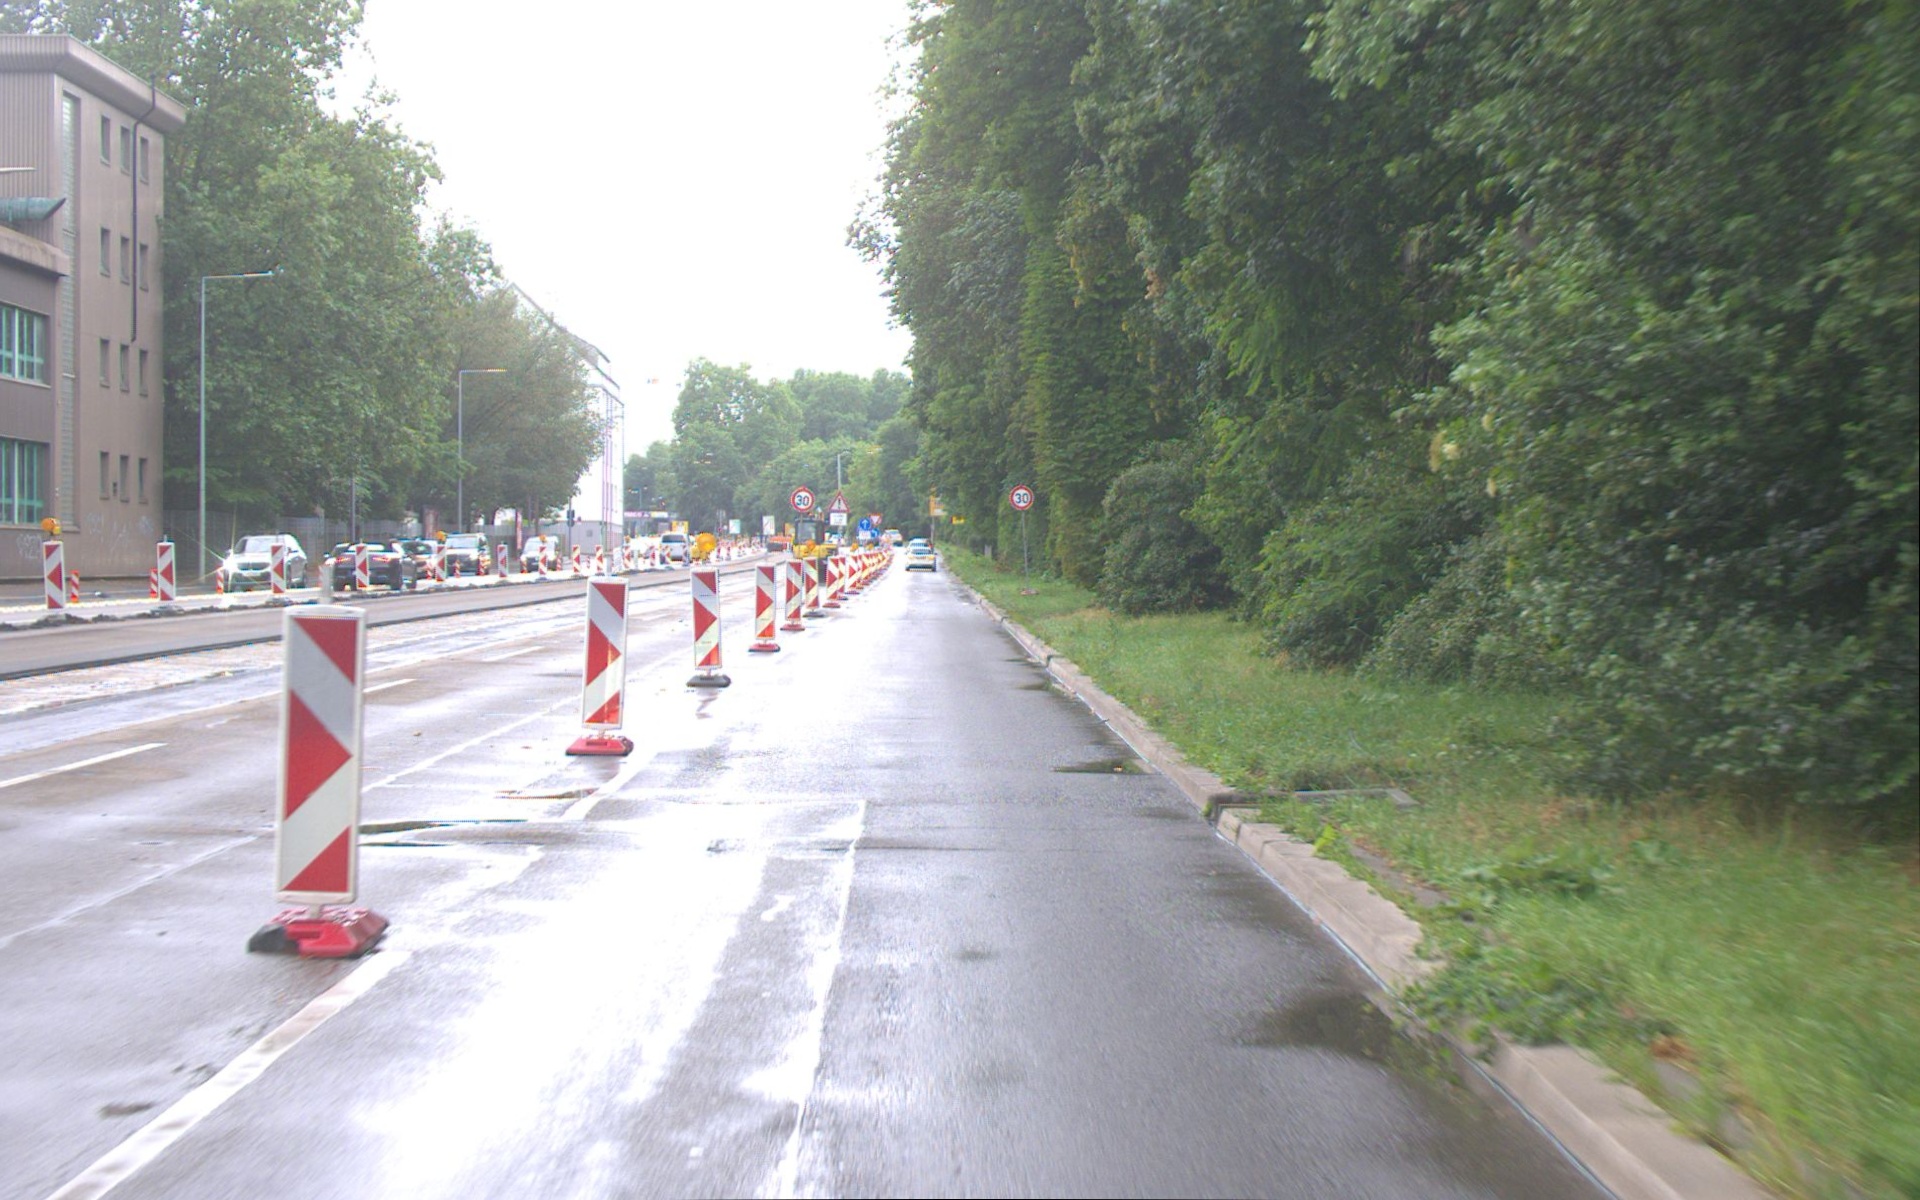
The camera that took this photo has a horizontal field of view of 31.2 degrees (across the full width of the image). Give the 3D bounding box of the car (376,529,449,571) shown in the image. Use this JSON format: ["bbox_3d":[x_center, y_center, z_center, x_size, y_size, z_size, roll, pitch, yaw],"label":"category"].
[{"bbox_3d":[-20.389,-1.867,128.178,1.894,1.497,4.516,1,1,1],"label":"car"}]

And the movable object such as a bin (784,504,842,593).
[{"bbox_3d":[-5.676,-1.987,133.401,1.993,3.356,5.982,1,1,-1],"label":"movable object such as a bin"}]

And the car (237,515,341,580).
[{"bbox_3d":[-19.142,-1.494,98.242,1.989,1.762,4.674,1,1,1],"label":"car"}]

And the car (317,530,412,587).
[{"bbox_3d":[-16.575,-1.161,95.845,1.993,1.514,4.000,1,1,-1],"label":"car"}]

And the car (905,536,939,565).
[{"bbox_3d":[-2.268,-2.922,204.533,1.993,1.667,4.000,1,1,0],"label":"car"}]
